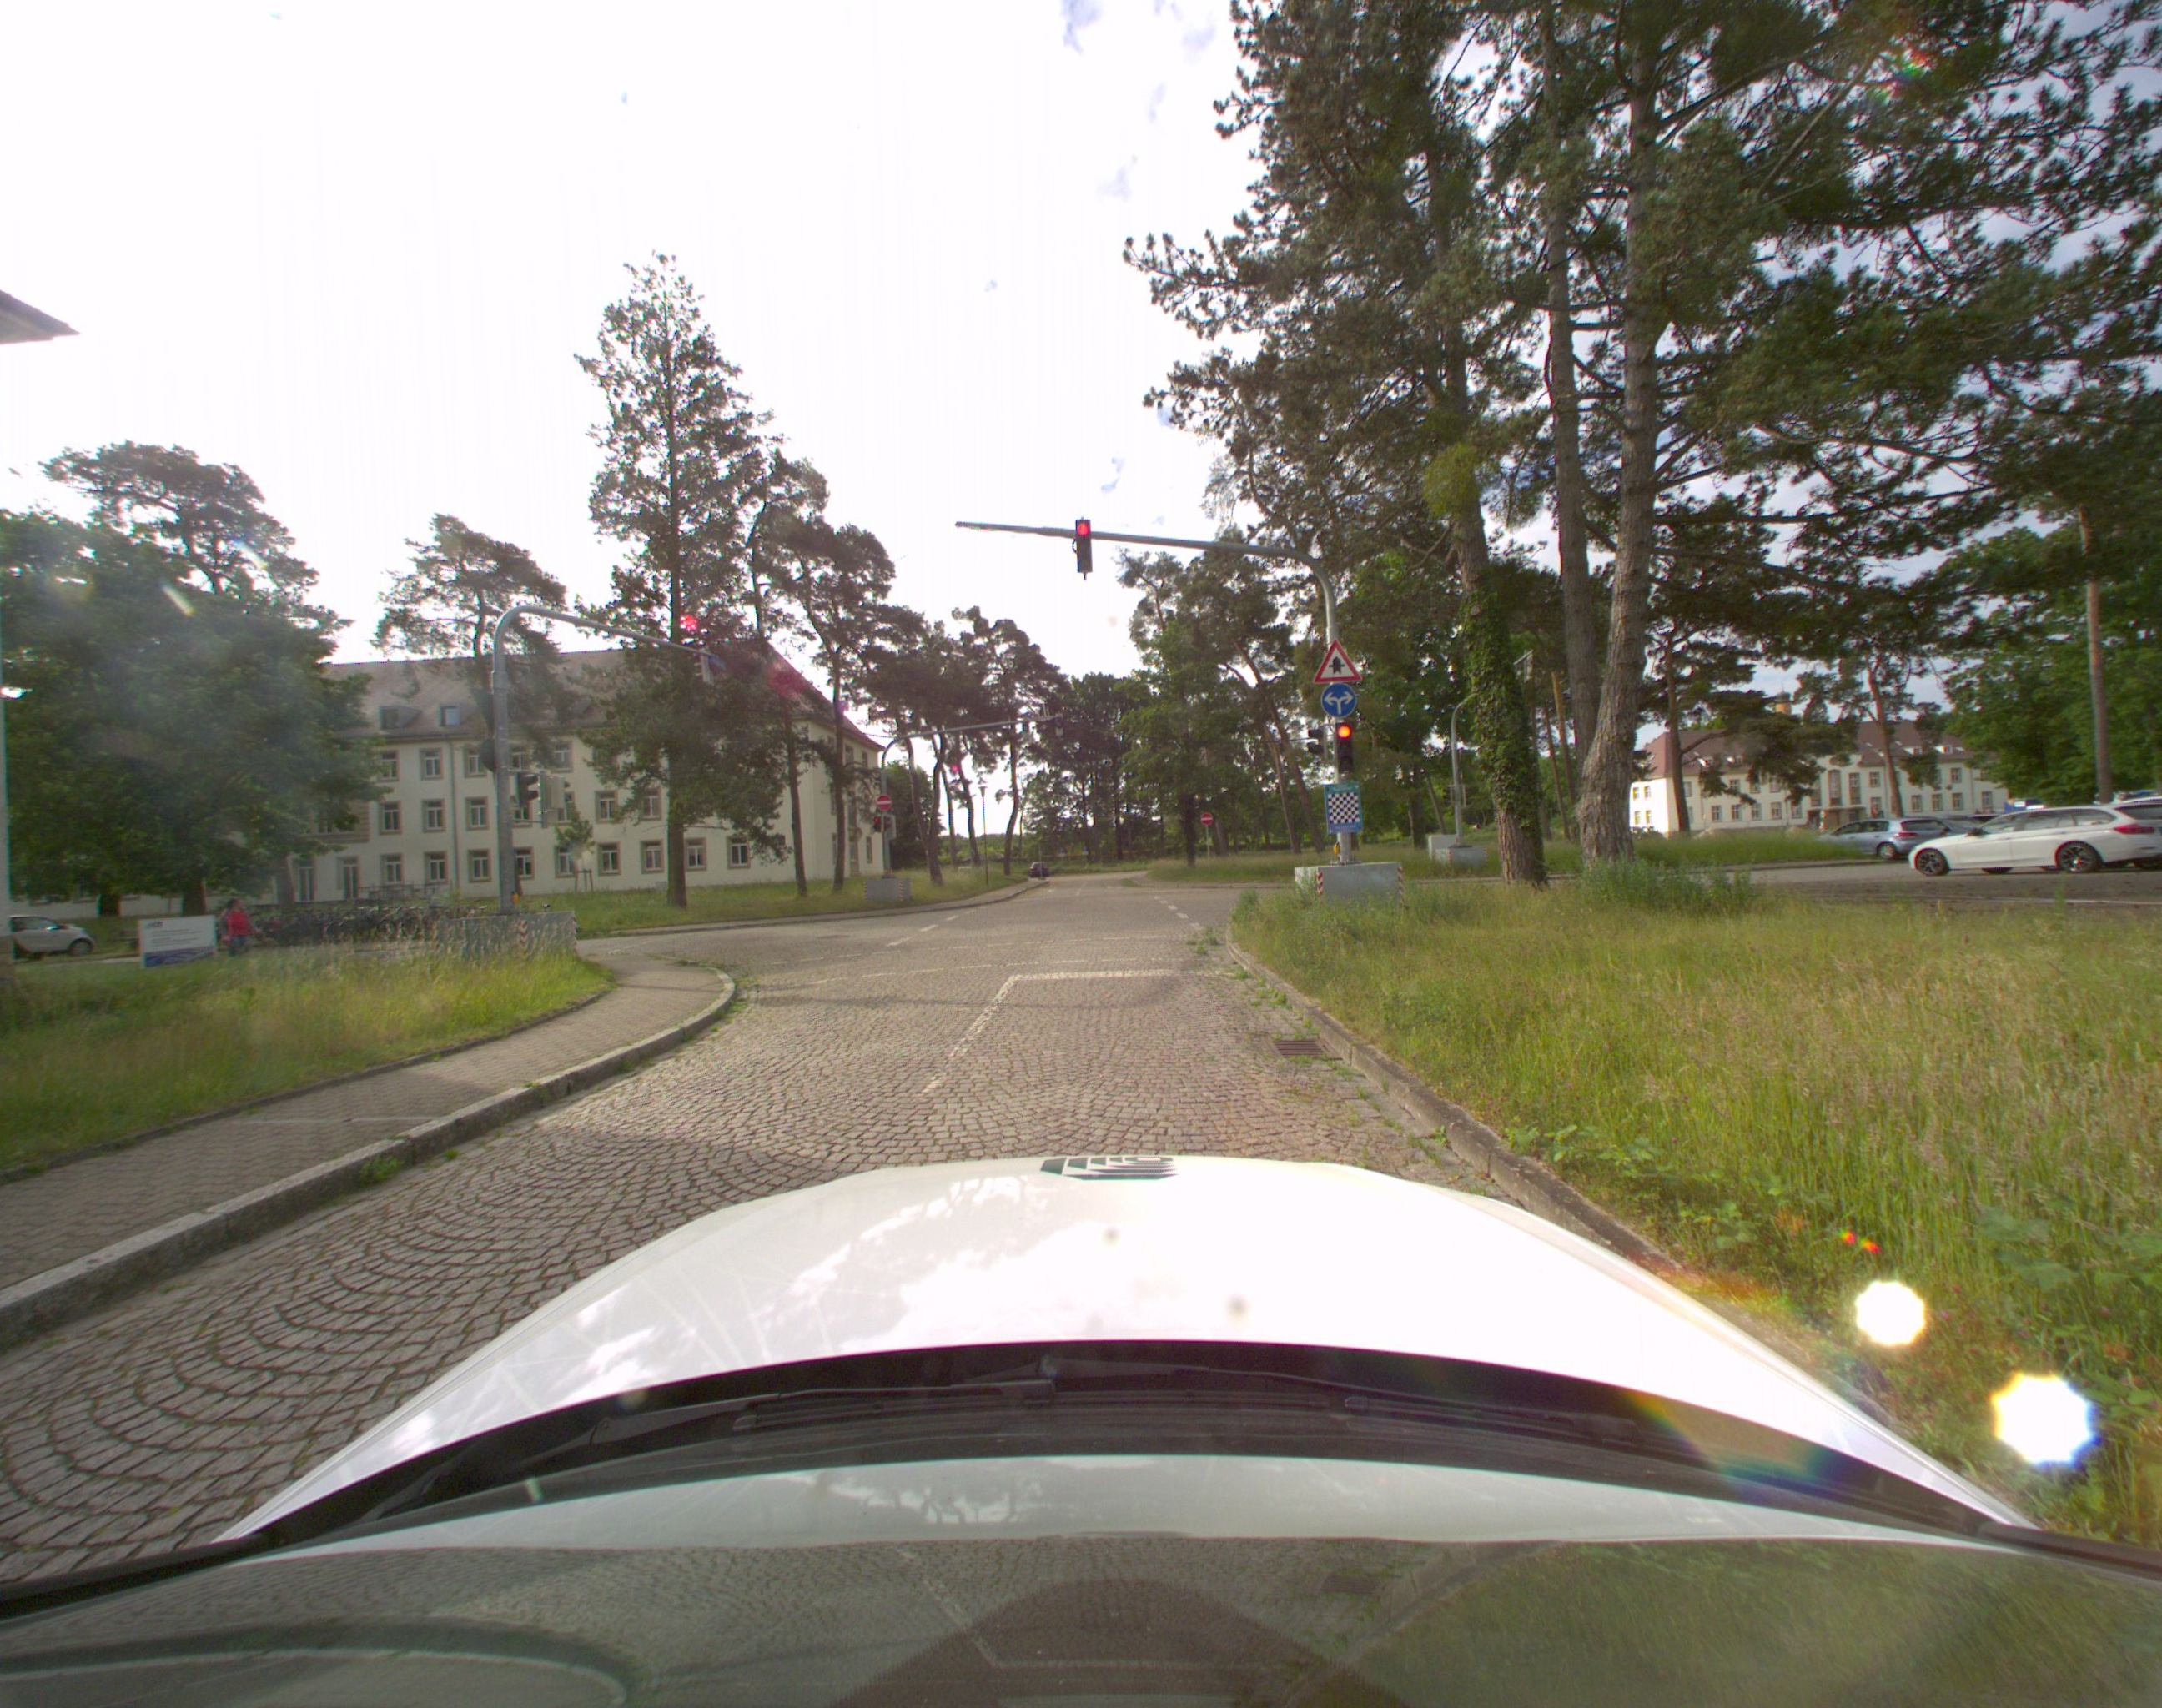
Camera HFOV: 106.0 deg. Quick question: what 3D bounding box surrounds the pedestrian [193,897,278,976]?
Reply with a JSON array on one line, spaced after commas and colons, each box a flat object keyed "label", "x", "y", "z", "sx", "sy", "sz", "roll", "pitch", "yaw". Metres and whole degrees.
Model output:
[{"label": "pedestrian", "x": -19.192, "y": 1.849, "z": 18.513, "sx": 0.856, "sy": 1.668, "sz": 0.940, "roll": -3, "pitch": -1, "yaw": 1}]

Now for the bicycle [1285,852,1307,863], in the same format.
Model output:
[{"label": "bicycle", "x": 22.146, "y": 0.365, "z": 84.048, "sx": 1.982, "sy": 1.095, "sz": 0.809, "roll": -3, "pitch": 0, "yaw": -3}]

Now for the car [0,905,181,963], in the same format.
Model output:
[{"label": "car", "x": -34.260, "y": 2.696, "z": 28.162, "sx": 1.832, "sy": 1.556, "sz": 3.898, "roll": -3, "pitch": 0, "yaw": 2}]

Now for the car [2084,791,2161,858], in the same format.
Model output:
[{"label": "car", "x": 26.570, "y": -0.752, "z": 18.553, "sx": 1.862, "sy": 1.577, "sz": 4.444, "roll": -3, "pitch": 0, "yaw": -2}]

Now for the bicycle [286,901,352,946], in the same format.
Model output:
[{"label": "bicycle", "x": -24.321, "y": 2.208, "z": 26.021, "sx": 0.447, "sy": 1.283, "sz": 1.695, "roll": -3, "pitch": 0, "yaw": 0}]

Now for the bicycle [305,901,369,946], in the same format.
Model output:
[{"label": "bicycle", "x": -23.758, "y": 2.190, "z": 26.043, "sx": 0.447, "sy": 1.283, "sz": 1.695, "roll": -3, "pitch": 0, "yaw": 0}]

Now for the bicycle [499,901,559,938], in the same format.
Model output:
[{"label": "bicycle", "x": -16.717, "y": 1.972, "z": 24.681, "sx": 1.454, "sy": 0.996, "sz": 0.452, "roll": -3, "pitch": -1, "yaw": 2}]

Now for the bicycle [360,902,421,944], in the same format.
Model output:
[{"label": "bicycle", "x": -22.025, "y": 2.185, "z": 26.015, "sx": 0.447, "sy": 1.178, "sz": 1.695, "roll": -3, "pitch": 0, "yaw": 0}]

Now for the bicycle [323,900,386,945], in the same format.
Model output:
[{"label": "bicycle", "x": -23.243, "y": 2.173, "z": 26.084, "sx": 0.447, "sy": 1.283, "sz": 1.695, "roll": -3, "pitch": 0, "yaw": 0}]

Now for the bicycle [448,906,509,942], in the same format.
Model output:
[{"label": "bicycle", "x": -18.238, "y": 2.113, "z": 24.663, "sx": 1.454, "sy": 0.996, "sz": 0.452, "roll": -3, "pitch": -1, "yaw": 2}]

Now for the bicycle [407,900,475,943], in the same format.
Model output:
[{"label": "bicycle", "x": -20.444, "y": 2.135, "z": 26.052, "sx": 0.573, "sy": 1.178, "sz": 1.953, "roll": -3, "pitch": 0, "yaw": 0}]

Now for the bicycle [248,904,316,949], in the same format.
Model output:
[{"label": "bicycle", "x": -25.470, "y": 2.297, "z": 25.986, "sx": 0.447, "sy": 1.283, "sz": 1.695, "roll": -3, "pitch": 0, "yaw": 0}]

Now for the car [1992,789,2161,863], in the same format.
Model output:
[{"label": "car", "x": 23.958, "y": -0.647, "z": 18.311, "sx": 1.862, "sy": 1.577, "sz": 4.444, "roll": -3, "pitch": 0, "yaw": -2}]

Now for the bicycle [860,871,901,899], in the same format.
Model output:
[{"label": "bicycle", "x": -7.886, "y": 1.223, "z": 32.022, "sx": 1.457, "sy": 0.996, "sz": 0.451, "roll": -3, "pitch": 0, "yaw": -6}]

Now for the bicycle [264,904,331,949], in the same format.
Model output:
[{"label": "bicycle", "x": -24.984, "y": 2.282, "z": 25.996, "sx": 0.447, "sy": 1.283, "sz": 1.695, "roll": -3, "pitch": 0, "yaw": 0}]

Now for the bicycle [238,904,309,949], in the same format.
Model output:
[{"label": "bicycle", "x": -25.937, "y": 2.313, "z": 26.186, "sx": 0.441, "sy": 1.283, "sz": 1.785, "roll": -3, "pitch": 0, "yaw": 0}]

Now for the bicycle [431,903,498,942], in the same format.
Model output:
[{"label": "bicycle", "x": -19.746, "y": 2.180, "z": 26.132, "sx": 0.573, "sy": 1.078, "sz": 1.996, "roll": -3, "pitch": 0, "yaw": 0}]

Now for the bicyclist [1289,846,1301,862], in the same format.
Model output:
[{"label": "bicyclist", "x": 22.068, "y": 0.003, "z": 84.036, "sx": 0.972, "sy": 1.510, "sz": 0.807, "roll": -3, "pitch": 0, "yaw": -2}]

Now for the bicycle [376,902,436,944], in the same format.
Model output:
[{"label": "bicycle", "x": -21.539, "y": 2.183, "z": 26.033, "sx": 0.447, "sy": 1.178, "sz": 1.695, "roll": -3, "pitch": 0, "yaw": 0}]

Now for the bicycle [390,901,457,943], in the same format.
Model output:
[{"label": "bicycle", "x": -21.027, "y": 2.154, "z": 26.088, "sx": 0.526, "sy": 1.178, "sz": 1.930, "roll": -3, "pitch": 0, "yaw": 0}]

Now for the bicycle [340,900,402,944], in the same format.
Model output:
[{"label": "bicycle", "x": -22.738, "y": 2.157, "z": 26.124, "sx": 0.447, "sy": 1.283, "sz": 1.695, "roll": -3, "pitch": 0, "yaw": 0}]

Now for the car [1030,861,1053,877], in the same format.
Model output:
[{"label": "car", "x": -3.940, "y": 1.501, "z": 81.859, "sx": 1.986, "sy": 1.508, "sz": 4.002, "roll": -1, "pitch": 0, "yaw": 2}]

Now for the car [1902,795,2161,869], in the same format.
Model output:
[{"label": "car", "x": 21.384, "y": -0.418, "z": 18.060, "sx": 1.748, "sy": 1.415, "sz": 4.444, "roll": -3, "pitch": -1, "yaw": -2}]

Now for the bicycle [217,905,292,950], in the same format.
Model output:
[{"label": "bicycle", "x": -26.402, "y": 2.330, "z": 26.055, "sx": 0.447, "sy": 1.283, "sz": 1.827, "roll": -3, "pitch": 0, "yaw": 0}]

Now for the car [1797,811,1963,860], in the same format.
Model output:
[{"label": "car", "x": 28.858, "y": -0.614, "z": 29.640, "sx": 1.745, "sy": 1.524, "sz": 4.450, "roll": -3, "pitch": 0, "yaw": 2}]
